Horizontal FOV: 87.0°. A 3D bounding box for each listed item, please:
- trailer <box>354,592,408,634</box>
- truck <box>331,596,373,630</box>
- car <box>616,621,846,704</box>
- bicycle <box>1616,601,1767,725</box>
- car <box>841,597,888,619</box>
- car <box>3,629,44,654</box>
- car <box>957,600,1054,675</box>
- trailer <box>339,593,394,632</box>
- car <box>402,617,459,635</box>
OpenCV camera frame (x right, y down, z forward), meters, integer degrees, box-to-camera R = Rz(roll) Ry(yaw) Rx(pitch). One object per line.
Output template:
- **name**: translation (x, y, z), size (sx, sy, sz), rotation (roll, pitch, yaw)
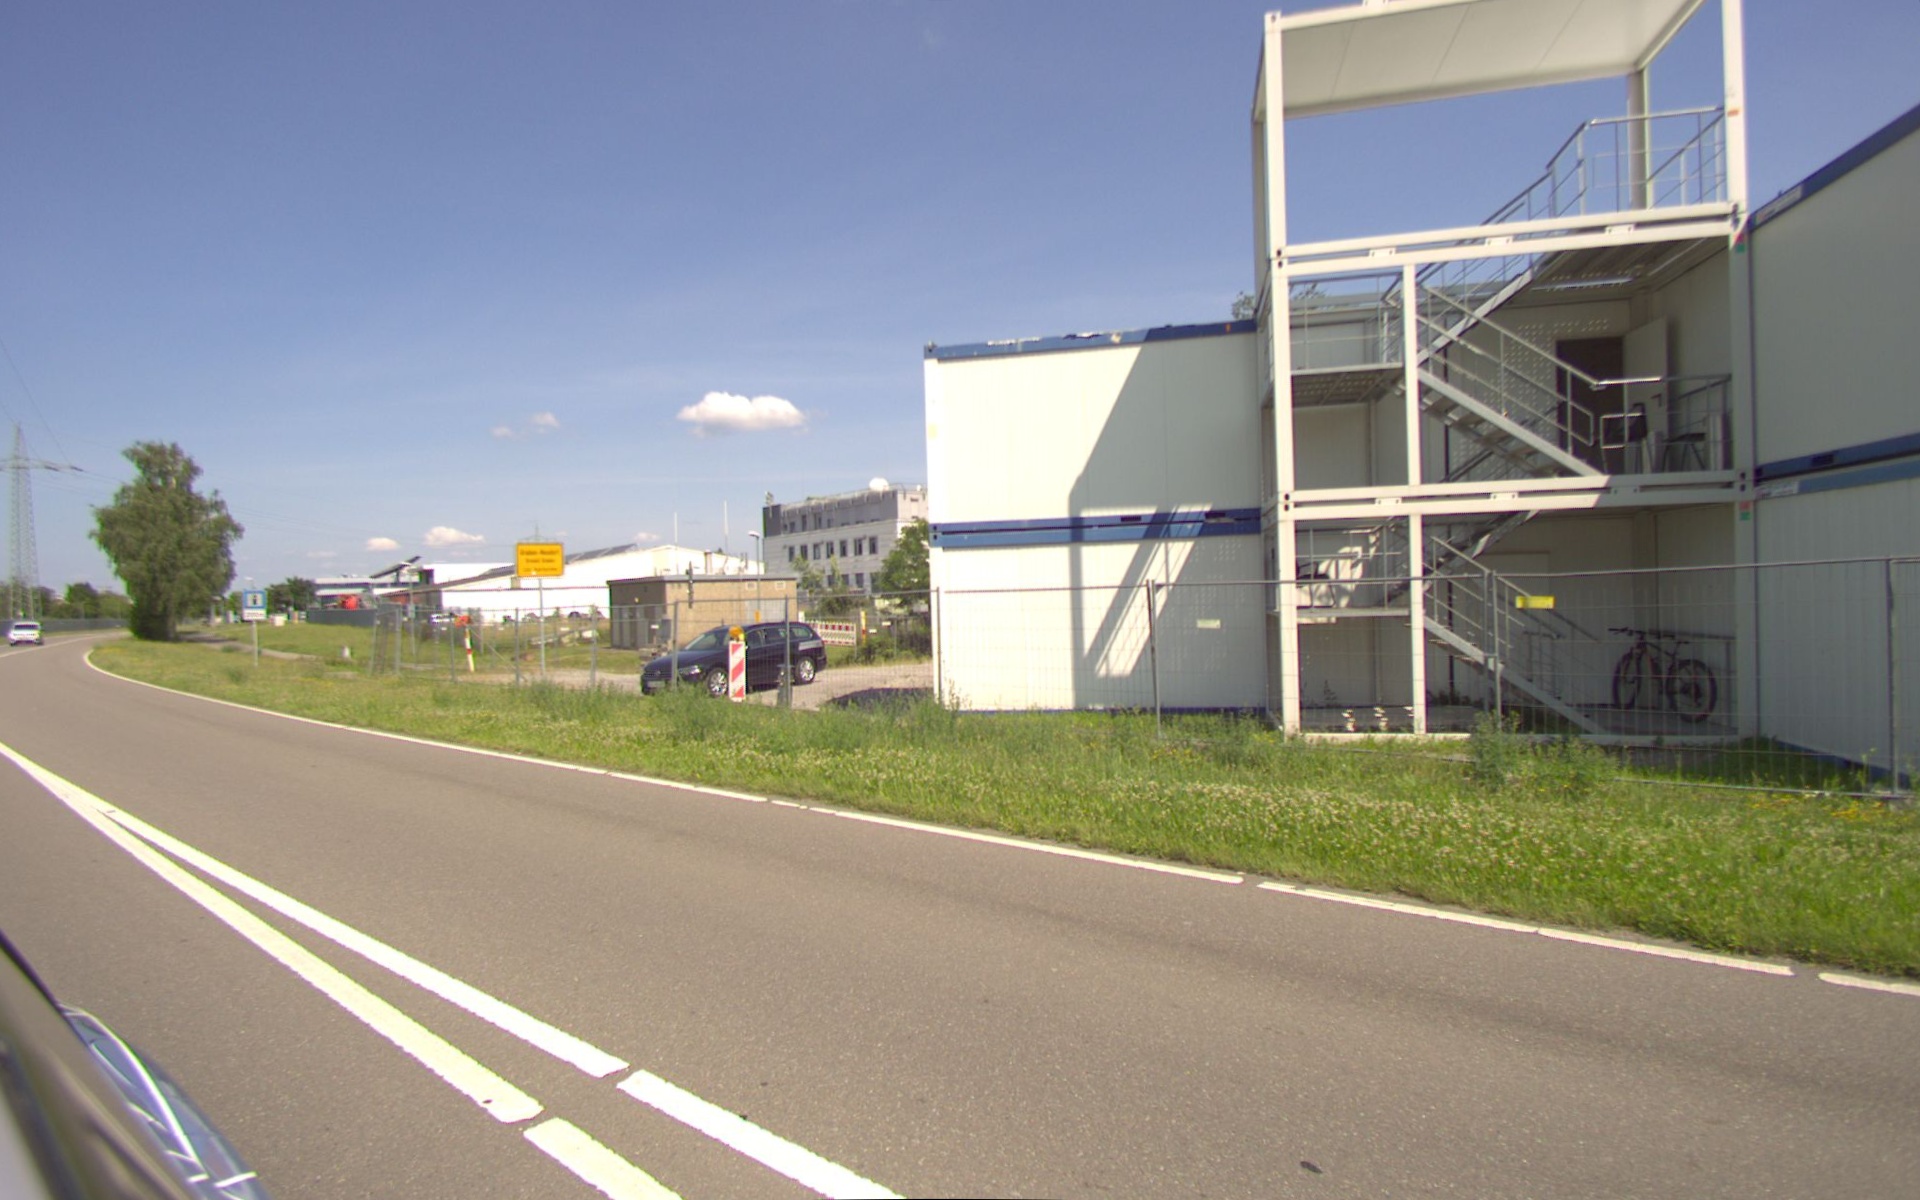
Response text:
- **trailer**: translation (-53.720, 1.166, 93.817), size (3.354, 3.672, 8.678), rotation (0, 0, -36)
- **truck**: translation (-68.325, 1.440, 113.577), size (3.060, 3.672, 10.618), rotation (0, 0, -36)
- **car**: translation (-4.833, 1.276, 22.119), size (1.993, 1.427, 4.931), rotation (-2, 0, 32)
- **bicycle**: translation (8.407, 0.673, 11.735), size (0.602, 1.311, 2.039), rotation (-1, 0, 11)
- **car**: translation (-9.381, 0.808, 98.745), size (1.720, 2.026, 5.537), rotation (-2, 0, -39)
- **car**: translation (-71.905, 3.182, 77.746), size (1.808, 1.820, 4.840), rotation (0, -1, -37)
- **car**: translation (1.436, 1.015, 29.671), size (1.979, 1.880, 5.003), rotation (-2, 1, 12)
- **trailer**: translation (-60.722, 1.297, 103.315), size (3.247, 3.672, 14.959), rotation (0, 0, -36)
- **car**: translation (-43.371, 2.109, 82.950), size (3.935, 1.353, 1.751), rotation (-2, 0, -36)
